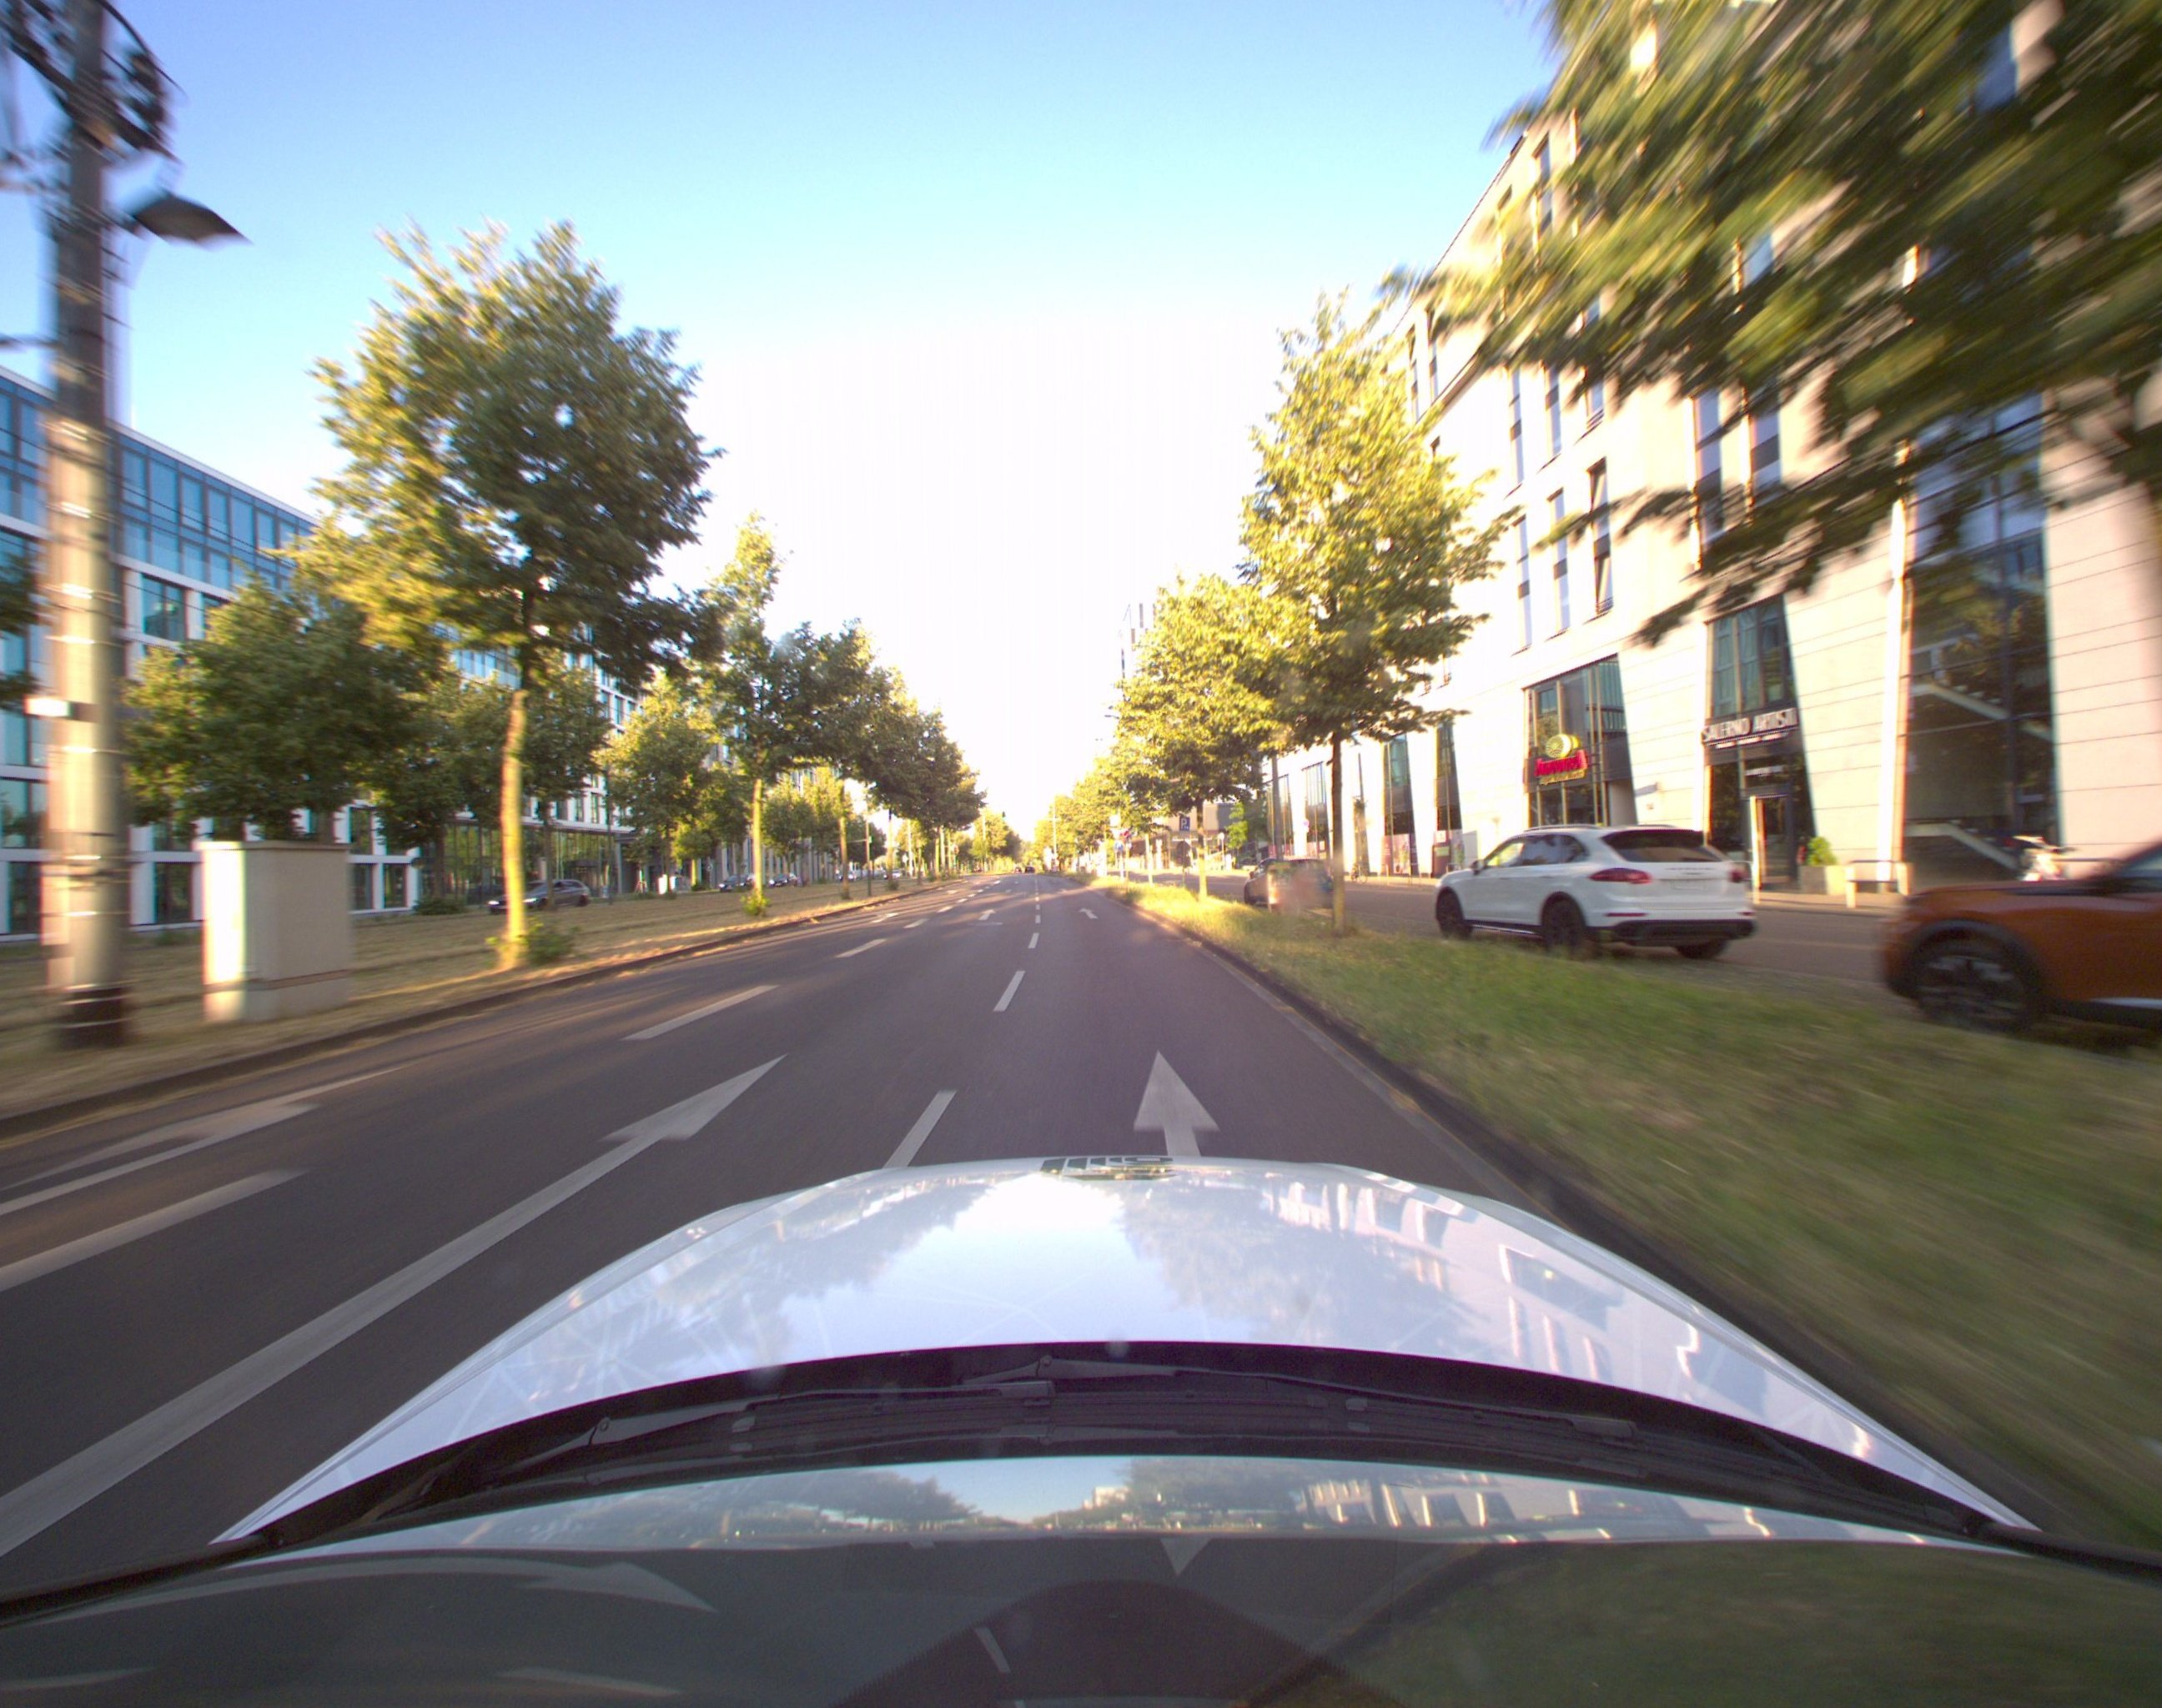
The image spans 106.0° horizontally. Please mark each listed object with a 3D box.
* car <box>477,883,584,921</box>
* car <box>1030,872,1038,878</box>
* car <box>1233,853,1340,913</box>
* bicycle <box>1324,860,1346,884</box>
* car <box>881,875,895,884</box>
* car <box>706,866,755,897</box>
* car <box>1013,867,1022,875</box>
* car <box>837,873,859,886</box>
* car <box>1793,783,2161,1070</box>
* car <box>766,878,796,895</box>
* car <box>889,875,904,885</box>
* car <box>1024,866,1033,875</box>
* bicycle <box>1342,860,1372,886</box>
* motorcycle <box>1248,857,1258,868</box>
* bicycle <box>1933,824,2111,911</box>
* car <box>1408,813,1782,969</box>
[{"bbox_3d":[-23.345,1.992,34.787,1.654,1.332,4.733,-2,-1,-5],"label":"car"},{"bbox_3d":[-11.996,5.308,206.526,1.868,1.574,3.673,-2,-1,-2],"label":"car"},{"bbox_3d":[5.697,0.774,23.118,1.720,1.530,4.262,-1,-1,-4],"label":"car"},{"bbox_3d":[12.122,0.855,38.965,0.444,1.072,1.773,-4,-1,1],"label":"bicycle"},{"bbox_3d":[-32.797,4.286,138.589,1.654,1.332,4.519,-2,-1,-5],"label":"car"},{"bbox_3d":[-25.111,1.950,58.536,1.990,2.014,3.993,-2,-1,-4],"label":"car"},{"bbox_3d":[-15.988,4.241,205.876,2.084,2.014,3.994,-2,-1,-4],"label":"car"},{"bbox_3d":[-27.959,3.040,97.929,1.654,1.332,4.576,-2,-1,-5],"label":"car"},{"bbox_3d":[6.684,0.371,4.243,1.851,1.530,4.476,-1,-1,-4],"label":"car"},{"bbox_3d":[-29.499,3.148,80.233,1.654,1.502,4.182,-2,-1,-5],"label":"car"},{"bbox_3d":[-27.928,3.953,123.349,1.784,1.332,3.665,-2,-1,-5],"label":"car"},{"bbox_3d":[-11.930,3.790,186.285,1.990,2.014,3.994,-2,-1,-4],"label":"car"},{"bbox_3d":[12.218,0.845,36.058,0.517,1.061,1.959,-5,-1,-2],"label":"bicycle"},{"bbox_3d":[18.637,0.916,88.198,0.647,1.094,2.333,-2,-1,2],"label":"motorcycle"},{"bbox_3d":[13.576,0.180,11.833,0.567,1.124,1.838,-4,0,8],"label":"bicycle"},{"bbox_3d":[6.793,0.449,11.681,1.946,1.714,5.154,-1,-1,-2],"label":"car"}]
